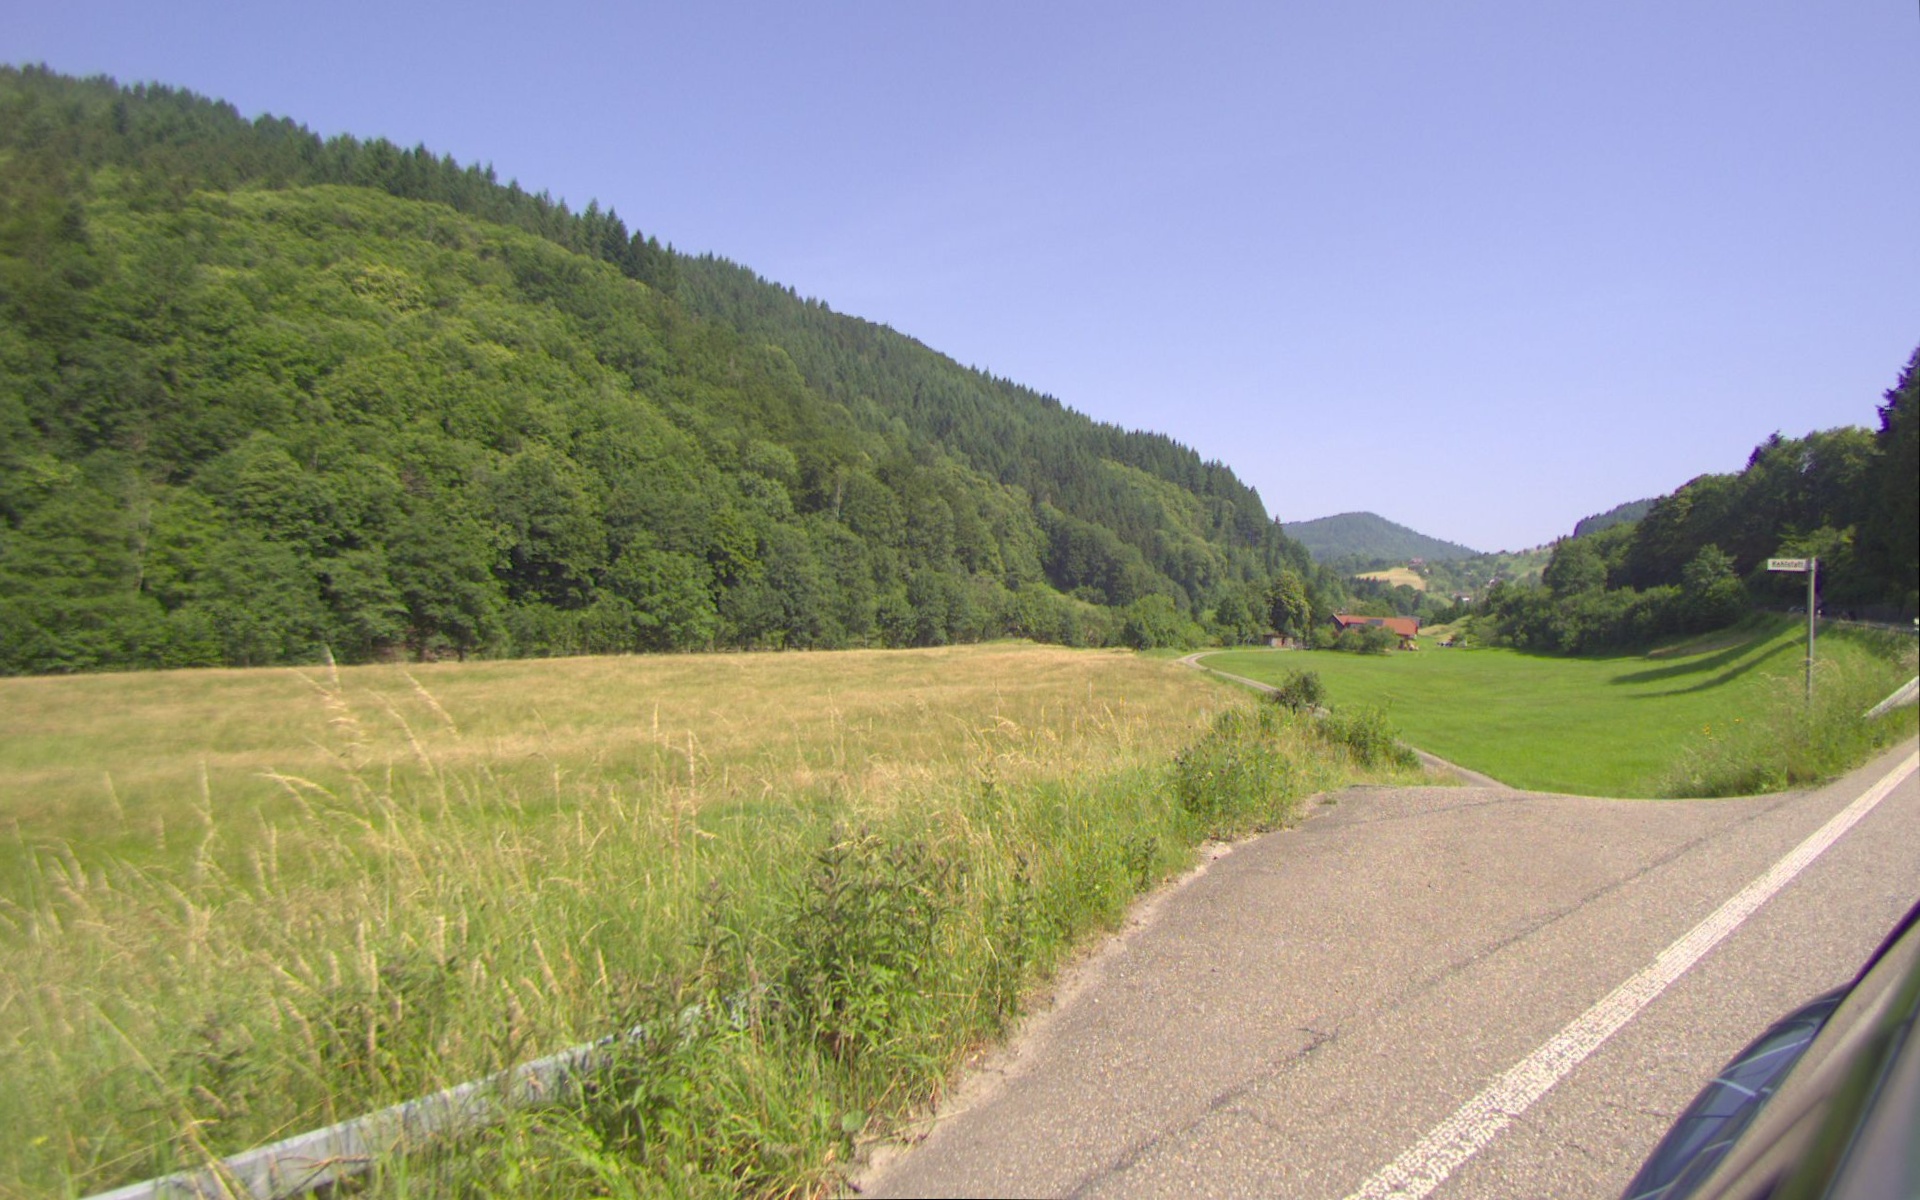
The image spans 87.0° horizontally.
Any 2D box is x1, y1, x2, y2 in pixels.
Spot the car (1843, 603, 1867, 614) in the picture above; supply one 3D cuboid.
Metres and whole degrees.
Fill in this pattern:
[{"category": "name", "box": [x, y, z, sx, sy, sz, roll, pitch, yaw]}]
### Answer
[{"category": "car", "box": [124.913, 1.158, 141.312, 1.756, 1.414, 4.099, 0, 1, 31]}]
